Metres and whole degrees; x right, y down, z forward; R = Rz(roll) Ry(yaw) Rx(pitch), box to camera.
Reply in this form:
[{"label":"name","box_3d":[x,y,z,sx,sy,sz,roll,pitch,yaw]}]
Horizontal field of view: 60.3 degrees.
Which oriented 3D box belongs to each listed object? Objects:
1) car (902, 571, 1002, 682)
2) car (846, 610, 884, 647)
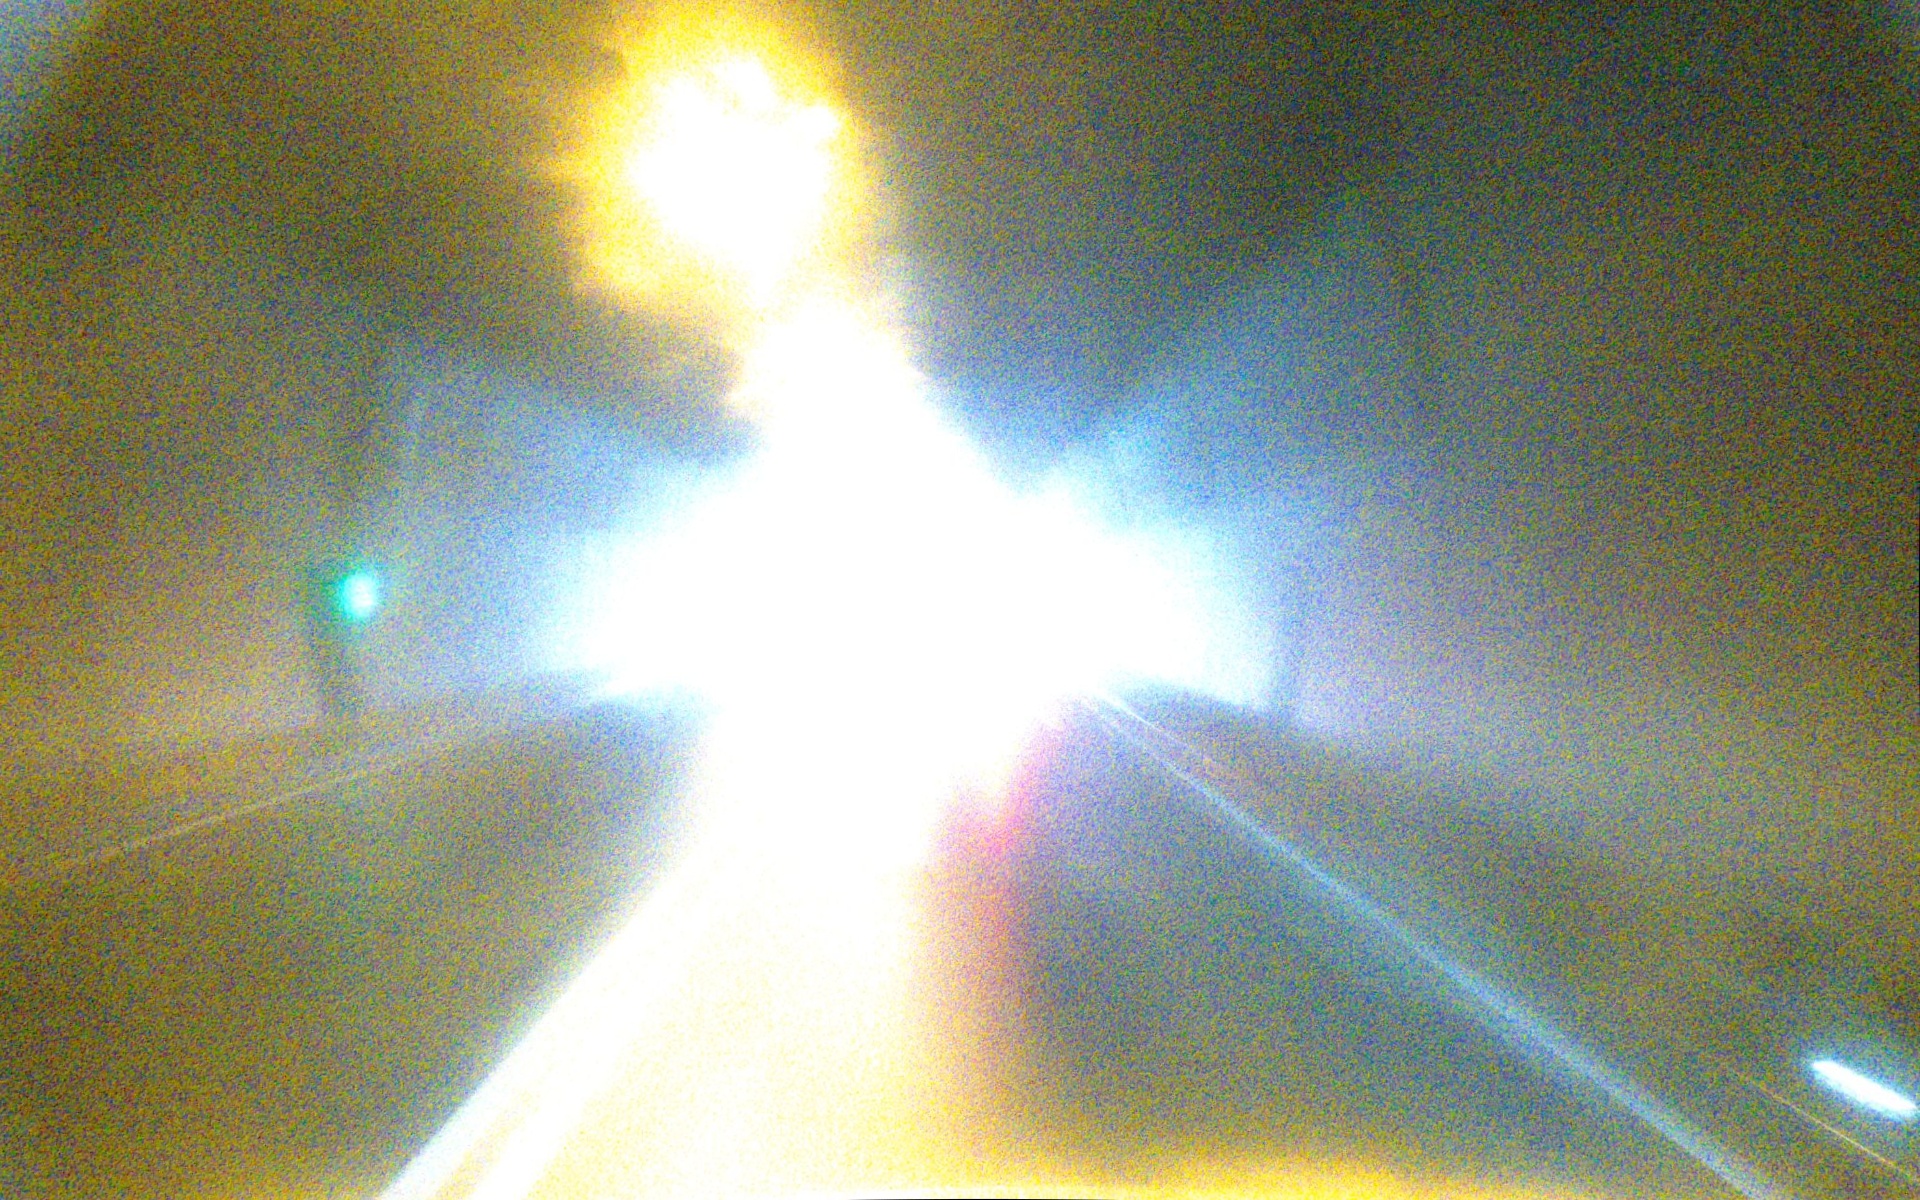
[{"label":"car","box_3d":[-0.133,0.394,28.964,1.602,1.788,4.146,0,1,0]},{"label":"car","box_3d":[-4.575,1.375,79.978,1.602,1.630,4.146,0,1,0]}]
